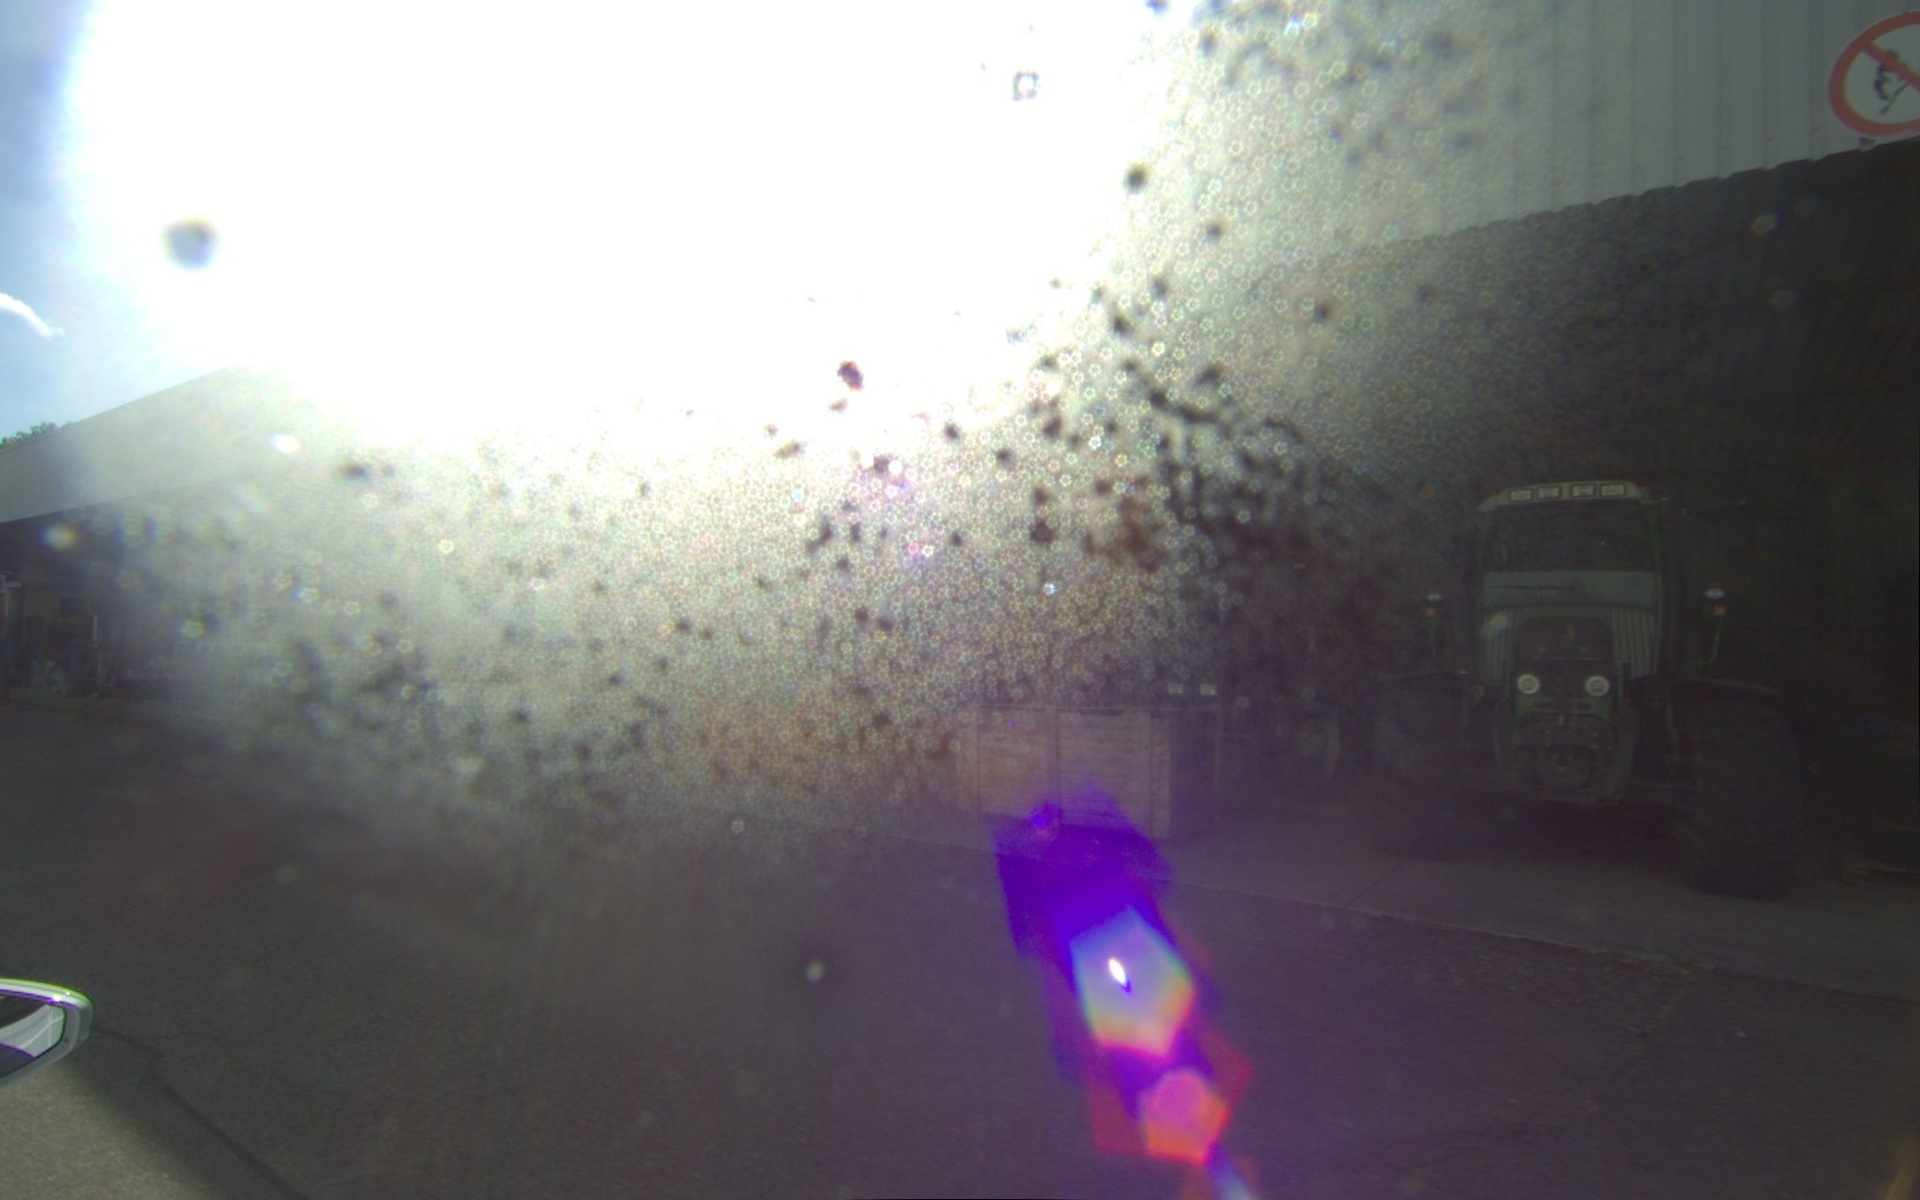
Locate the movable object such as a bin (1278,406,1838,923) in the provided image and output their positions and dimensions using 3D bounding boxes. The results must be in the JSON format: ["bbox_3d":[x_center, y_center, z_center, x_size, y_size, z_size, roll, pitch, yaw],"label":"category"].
[{"bbox_3d":[6.339,0.694,10.391,3.168,2.945,9.175,0,-4,35],"label":"movable object such as a bin"}]

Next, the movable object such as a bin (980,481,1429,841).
[{"bbox_3d":[3.214,0.720,11.588,2.976,2.945,6.174,0,-4,35],"label":"movable object such as a bin"}]

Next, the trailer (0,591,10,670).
[{"bbox_3d":[-31.171,0.886,30.755,1.704,2.427,2.518,-1,-4,36],"label":"trailer"}]

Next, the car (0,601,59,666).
[{"bbox_3d":[-37.030,1.201,37.533,1.891,2.335,4.426,-2,-7,35],"label":"car"}]

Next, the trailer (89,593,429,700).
[{"bbox_3d":[-15.219,1.077,22.169,2.050,2.057,5.753,0,-3,36],"label":"trailer"}]

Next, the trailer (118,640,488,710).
[{"bbox_3d":[-12.819,1.489,20.077,2.111,1.147,5.840,0,-4,33],"label":"trailer"}]
